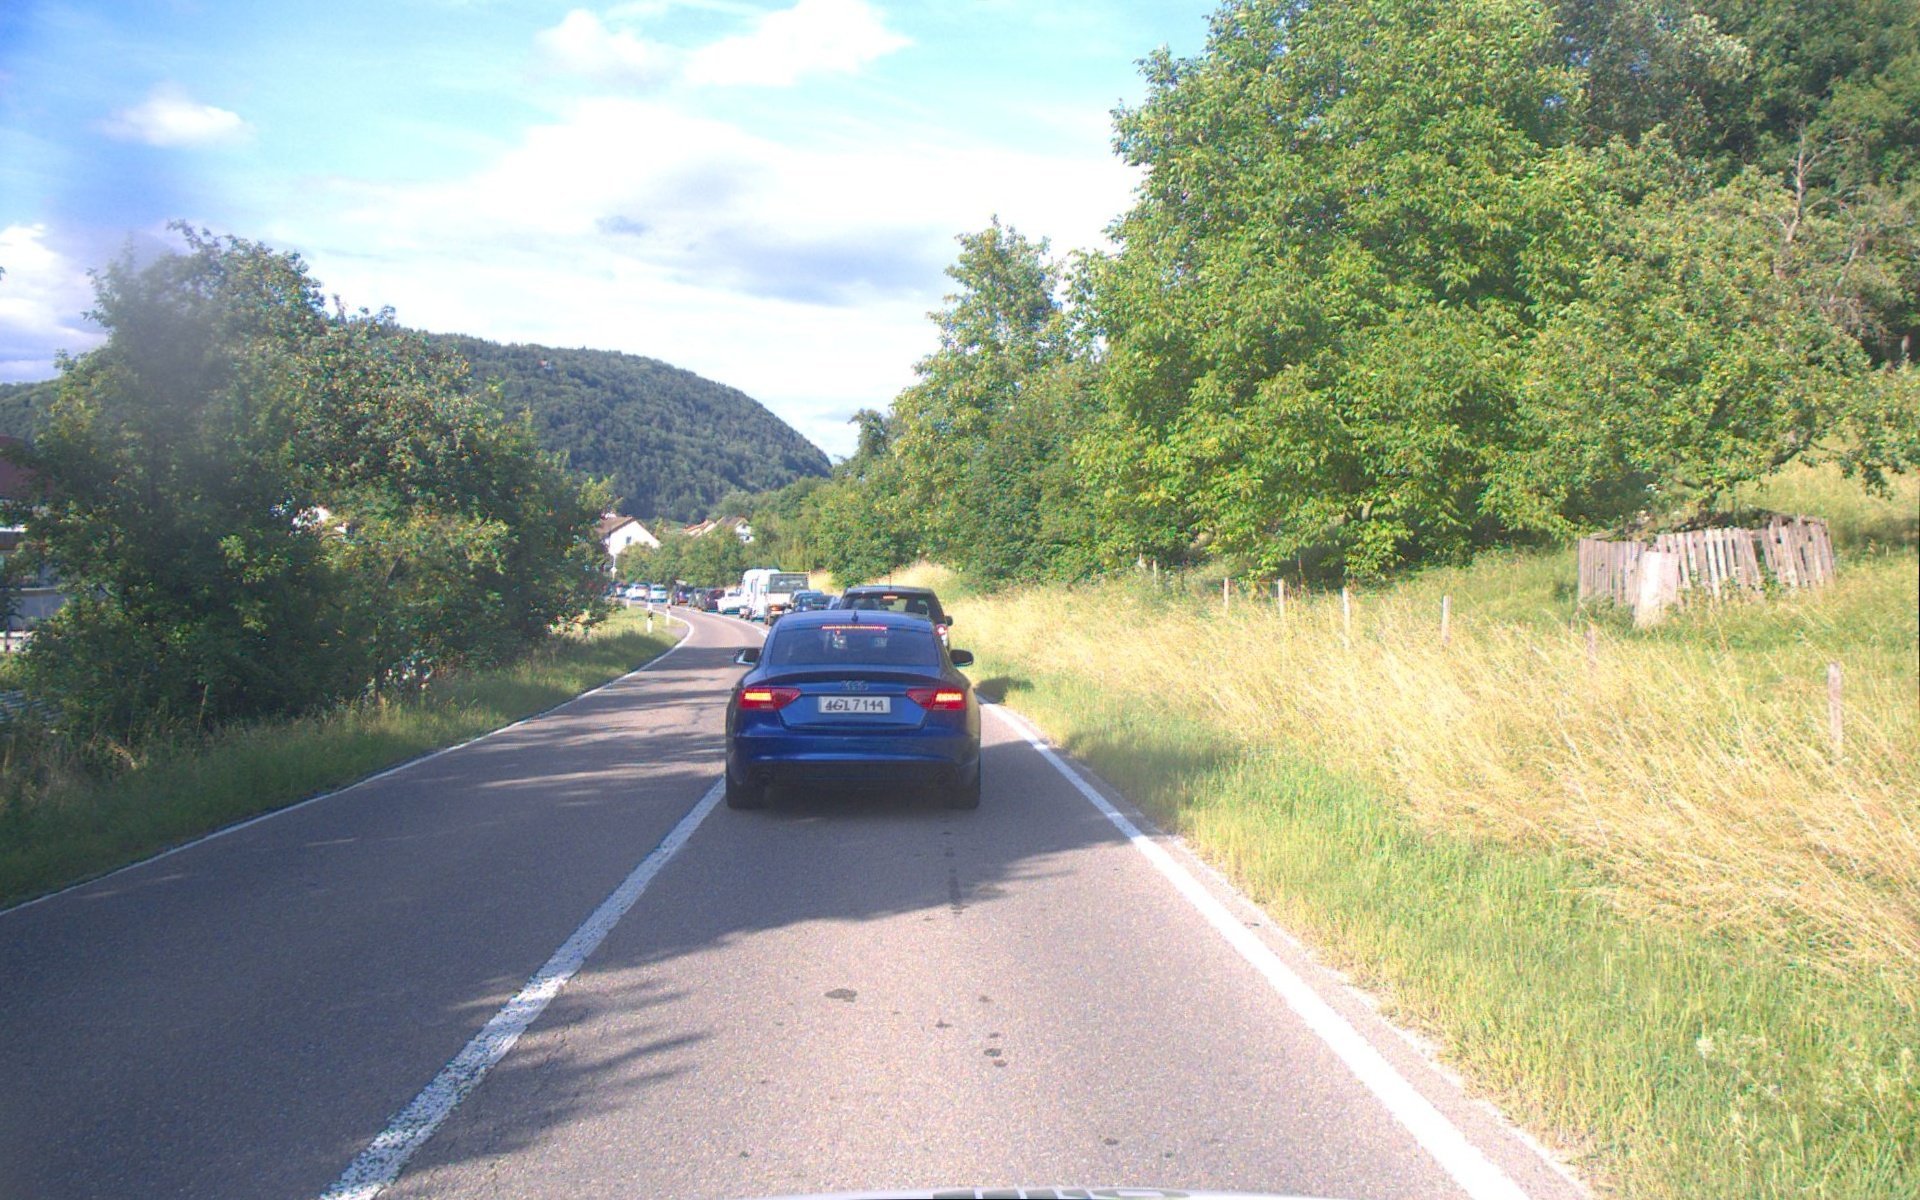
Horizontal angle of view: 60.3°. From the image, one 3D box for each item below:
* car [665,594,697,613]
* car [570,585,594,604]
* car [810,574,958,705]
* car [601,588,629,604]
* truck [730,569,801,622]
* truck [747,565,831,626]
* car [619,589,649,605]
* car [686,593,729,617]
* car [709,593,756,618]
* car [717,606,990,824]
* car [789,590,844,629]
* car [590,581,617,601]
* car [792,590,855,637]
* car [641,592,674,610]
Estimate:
[{"bbox_3d":[-22.302,0.282,132.000,1.963,1.508,3.979,1,0,-18],"label":"car"},{"bbox_3d":[-42.467,-0.589,185.799,1.967,2.049,3.971,1,0,-23],"label":"car"},{"bbox_3d":[-1.087,0.536,24.037,1.953,1.732,3.998,1,0,-2],"label":"car"},{"bbox_3d":[-34.980,-0.388,167.783,1.968,1.508,3.969,1,0,-24],"label":"car"},{"bbox_3d":[-10.827,-0.258,91.249,2.814,2.712,10.610,1,0,-13],"label":"truck"},{"bbox_3d":[-8.402,-0.217,79.931,2.814,2.712,10.359,1,0,-13],"label":"truck"},{"bbox_3d":[-31.034,-0.307,157.309,1.968,1.508,3.969,1,0,-24],"label":"car"},{"bbox_3d":[-16.757,0.320,109.612,1.966,1.508,3.973,1,0,-22],"label":"car"},{"bbox_3d":[-14.142,0.342,102.680,1.966,1.508,3.973,1,0,-22],"label":"car"},{"bbox_3d":[-0.726,0.746,12.674,1.757,1.383,3.999,0,0,-1],"label":"car"},{"bbox_3d":[-5.870,0.372,67.352,1.957,1.508,3.991,1,0,-9],"label":"car"},{"bbox_3d":[-37.651,-0.966,174.619,1.967,2.049,3.971,1,0,-23],"label":"car"},{"bbox_3d":[-4.591,0.445,55.262,1.955,1.508,3.994,1,0,-7],"label":"car"},{"bbox_3d":[-26.788,0.106,146.433,1.968,1.508,3.969,1,0,-24],"label":"car"}]
